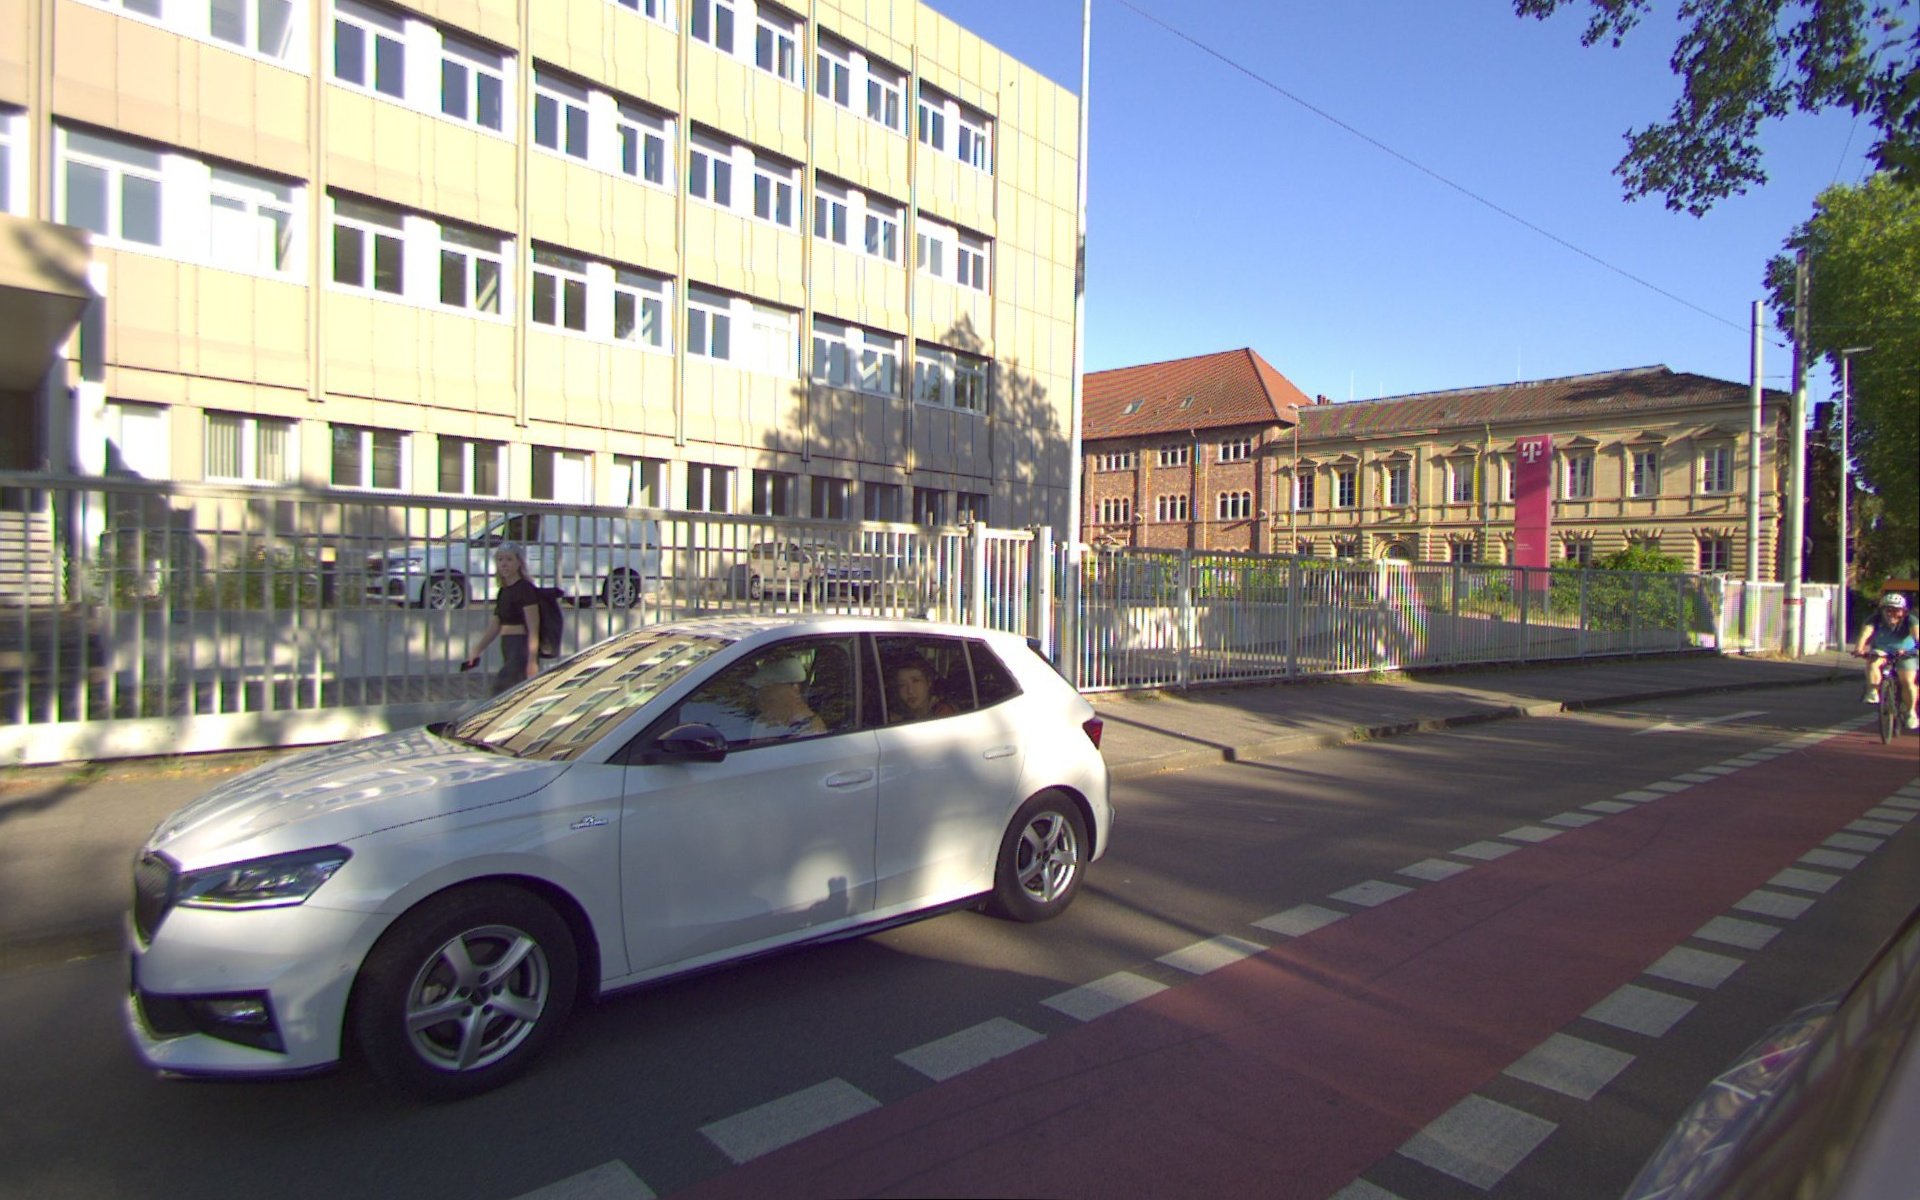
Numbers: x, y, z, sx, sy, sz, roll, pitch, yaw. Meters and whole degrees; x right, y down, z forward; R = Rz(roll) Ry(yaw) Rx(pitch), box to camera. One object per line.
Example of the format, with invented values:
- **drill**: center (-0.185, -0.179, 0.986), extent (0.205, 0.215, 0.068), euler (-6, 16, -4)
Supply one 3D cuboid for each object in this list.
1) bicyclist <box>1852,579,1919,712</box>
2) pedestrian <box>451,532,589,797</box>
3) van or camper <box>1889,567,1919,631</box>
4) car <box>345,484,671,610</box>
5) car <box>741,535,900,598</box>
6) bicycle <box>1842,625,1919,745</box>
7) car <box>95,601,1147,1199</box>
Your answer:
- **bicyclist**: center (10.570, 0.491, 11.395), extent (0.845, 1.440, 0.726), euler (0, 0, -44)
- **pedestrian**: center (-3.155, 0.425, 7.261), extent (0.757, 1.784, 0.592), euler (0, 1, -41)
- **van or camper**: center (41.146, -0.060, 43.231), extent (1.994, 2.626, 5.537), euler (0, 0, 44)
- **car**: center (-7.584, -0.825, 17.326), extent (1.994, 1.865, 4.709), euler (2, 2, 44)
- **car**: center (-3.921, -0.924, 27.990), extent (4.563, 1.601, 1.968), euler (2, 2, 44)
- **bicycle**: center (10.553, 0.899, 11.387), extent (2.269, 1.158, 0.763), euler (0, 1, -45)
- **car**: center (-1.100, 0.725, 4.396), extent (4.005, 1.406, 1.703), euler (0, 0, -42)
